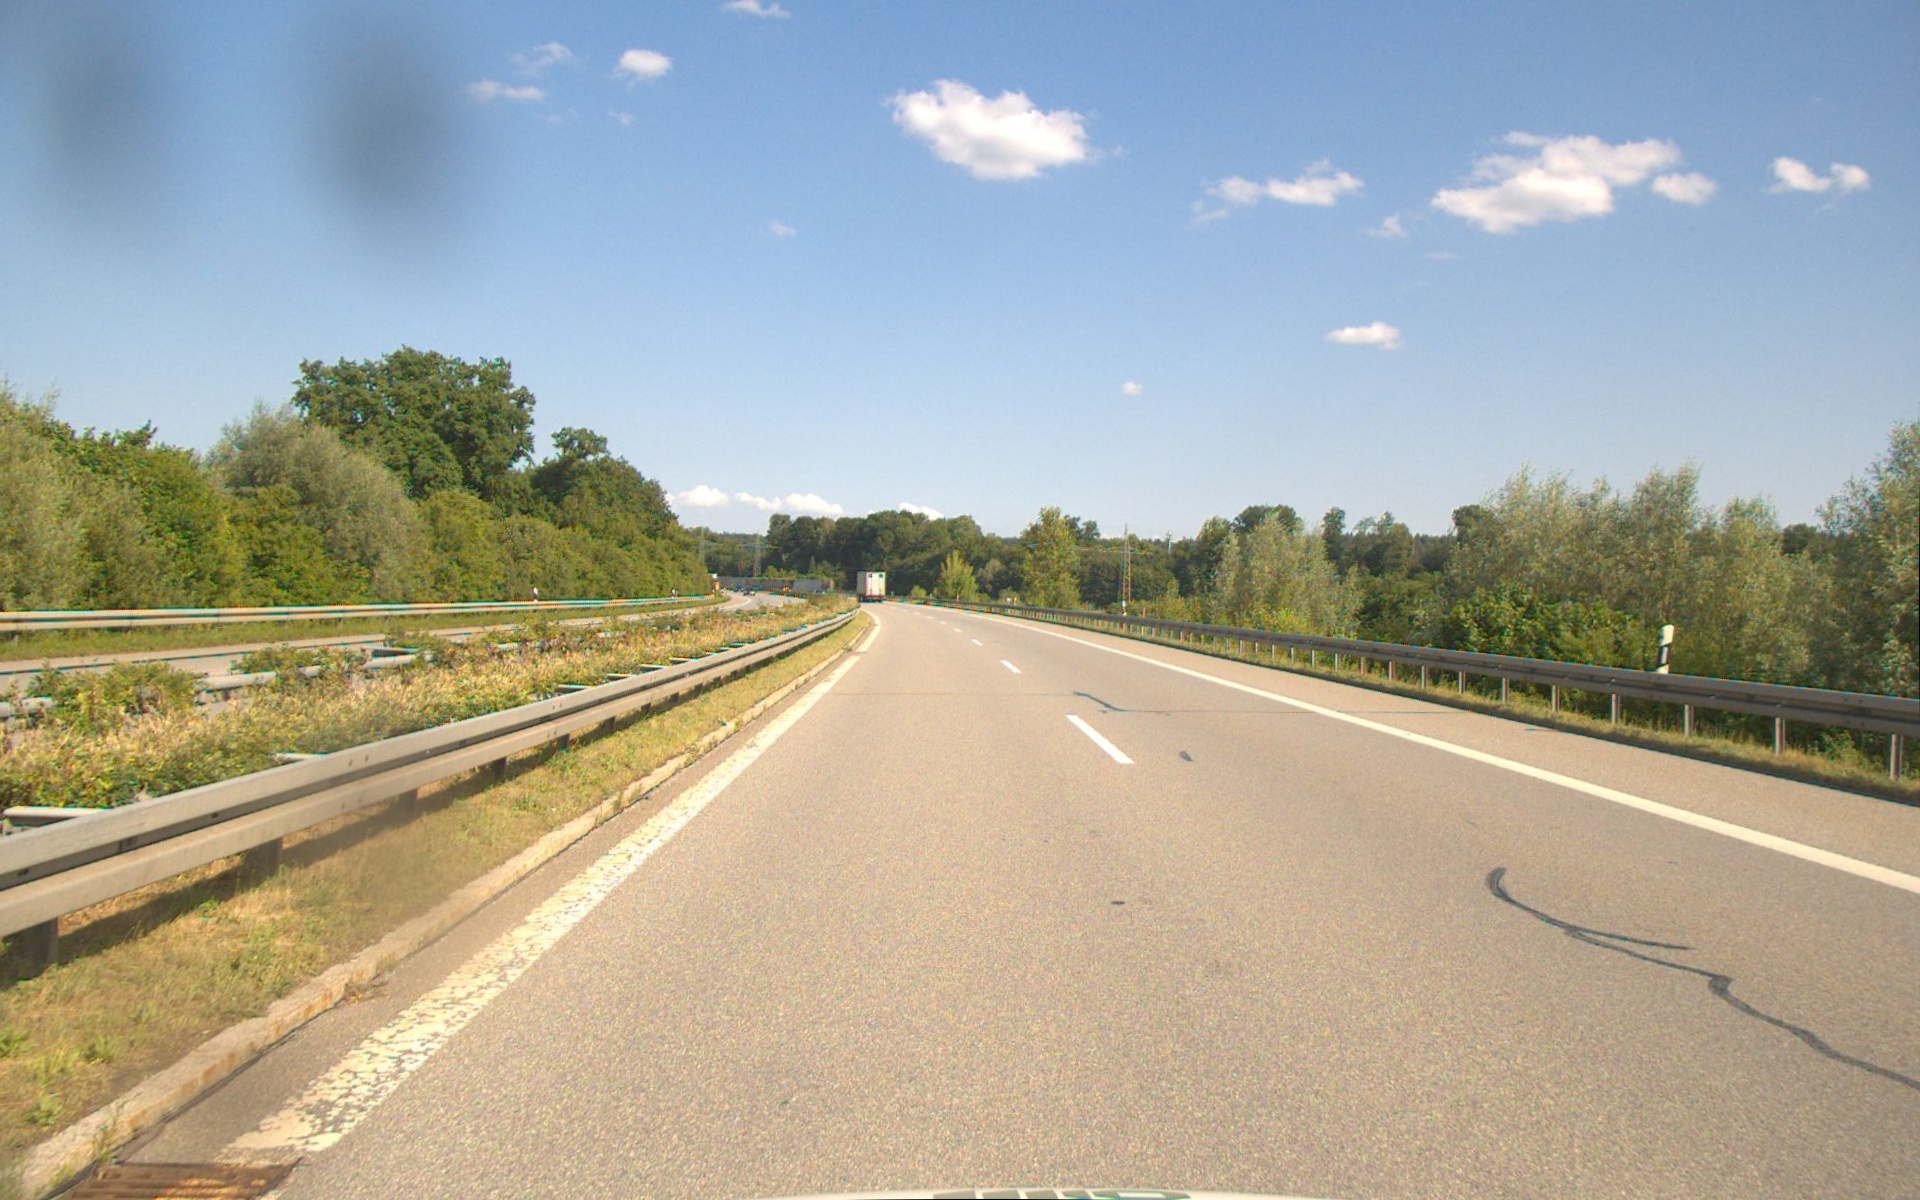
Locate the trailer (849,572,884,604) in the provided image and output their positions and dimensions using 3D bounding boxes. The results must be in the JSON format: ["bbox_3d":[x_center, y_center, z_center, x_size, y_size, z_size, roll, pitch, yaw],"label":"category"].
[{"bbox_3d":[-12.641,-1.619,222.020,2.834,4.137,12.381,0,1,-12],"label":"trailer"}]
